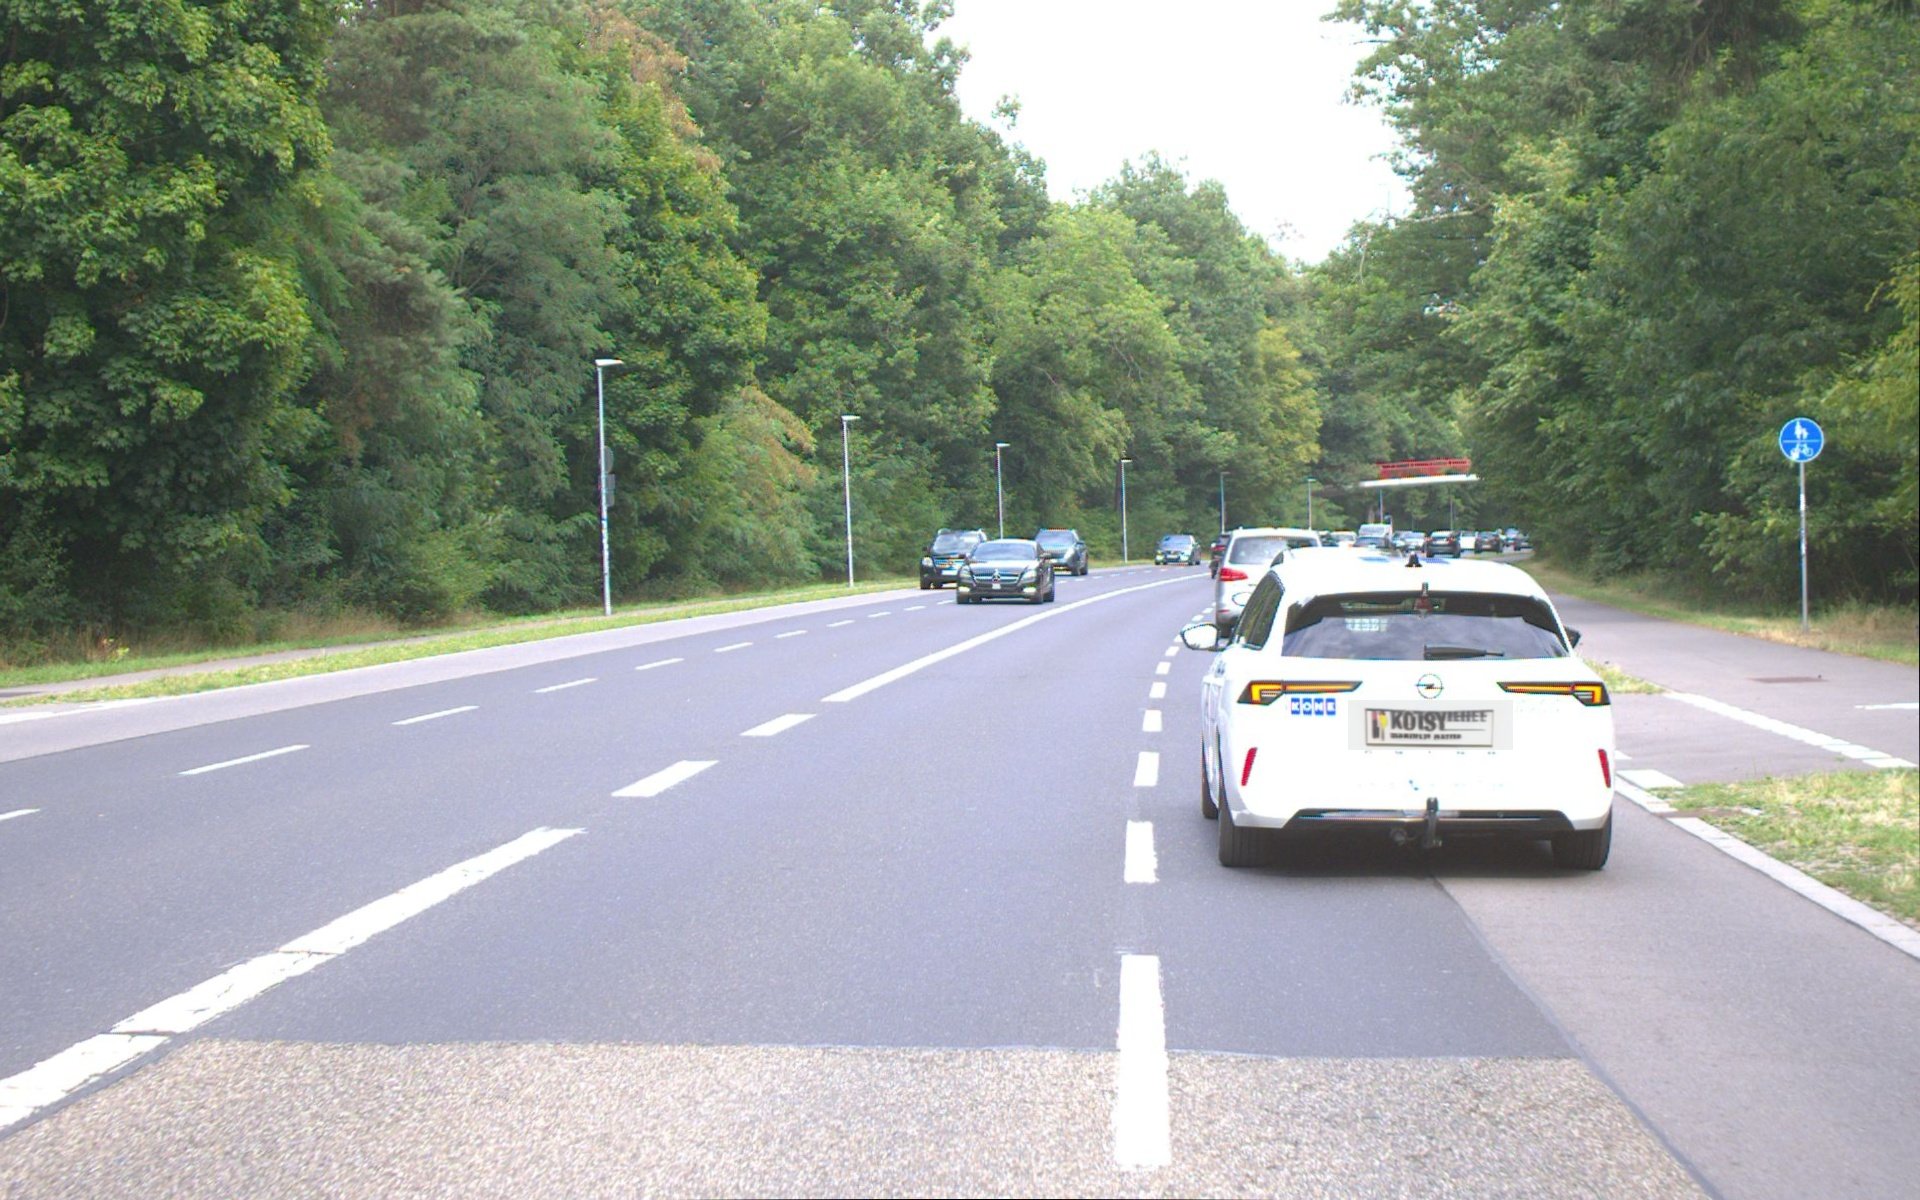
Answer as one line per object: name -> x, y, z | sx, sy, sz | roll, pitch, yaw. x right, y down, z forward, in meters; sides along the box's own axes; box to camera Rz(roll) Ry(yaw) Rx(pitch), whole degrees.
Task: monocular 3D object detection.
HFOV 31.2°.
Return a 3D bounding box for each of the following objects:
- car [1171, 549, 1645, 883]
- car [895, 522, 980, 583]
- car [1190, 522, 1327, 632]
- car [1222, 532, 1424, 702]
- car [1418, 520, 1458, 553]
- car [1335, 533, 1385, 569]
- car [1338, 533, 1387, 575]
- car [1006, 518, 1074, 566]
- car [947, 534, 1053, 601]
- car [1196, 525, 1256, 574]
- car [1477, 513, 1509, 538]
car -> 2.043, 0.458, 16.888 | 1.836, 1.405, 4.491 | 0, 1, 1
car -> -0.589, -1.295, 95.139 | 1.923, 1.649, 4.469 | 1, 0, 5
car -> 4.633, -0.361, 53.830 | 1.994, 1.601, 3.999 | 2, 0, 4
car -> 3.293, 0.138, 31.721 | 1.635, 1.415, 3.999 | 2, 0, 4
car -> 28.119, -3.732, 202.164 | 1.995, 1.777, 3.998 | 2, 0, 12
car -> 20.847, -2.550, 179.001 | 1.995, 1.777, 3.997 | 2, 0, 15
car -> 17.909, -2.047, 152.857 | 1.994, 1.777, 3.998 | 2, 0, 9
car -> 2.888, -2.059, 122.899 | 1.994, 1.611, 4.662 | 2, 0, 6
car -> 0.925, -0.709, 76.336 | 1.994, 1.430, 4.720 | 1, 0, 5
car -> 9.144, -1.708, 118.009 | 1.730, 1.582, 3.999 | 2, 0, 8
car -> 35.992, -5.049, 232.230 | 1.994, 1.700, 3.998 | 0, 1, 11
